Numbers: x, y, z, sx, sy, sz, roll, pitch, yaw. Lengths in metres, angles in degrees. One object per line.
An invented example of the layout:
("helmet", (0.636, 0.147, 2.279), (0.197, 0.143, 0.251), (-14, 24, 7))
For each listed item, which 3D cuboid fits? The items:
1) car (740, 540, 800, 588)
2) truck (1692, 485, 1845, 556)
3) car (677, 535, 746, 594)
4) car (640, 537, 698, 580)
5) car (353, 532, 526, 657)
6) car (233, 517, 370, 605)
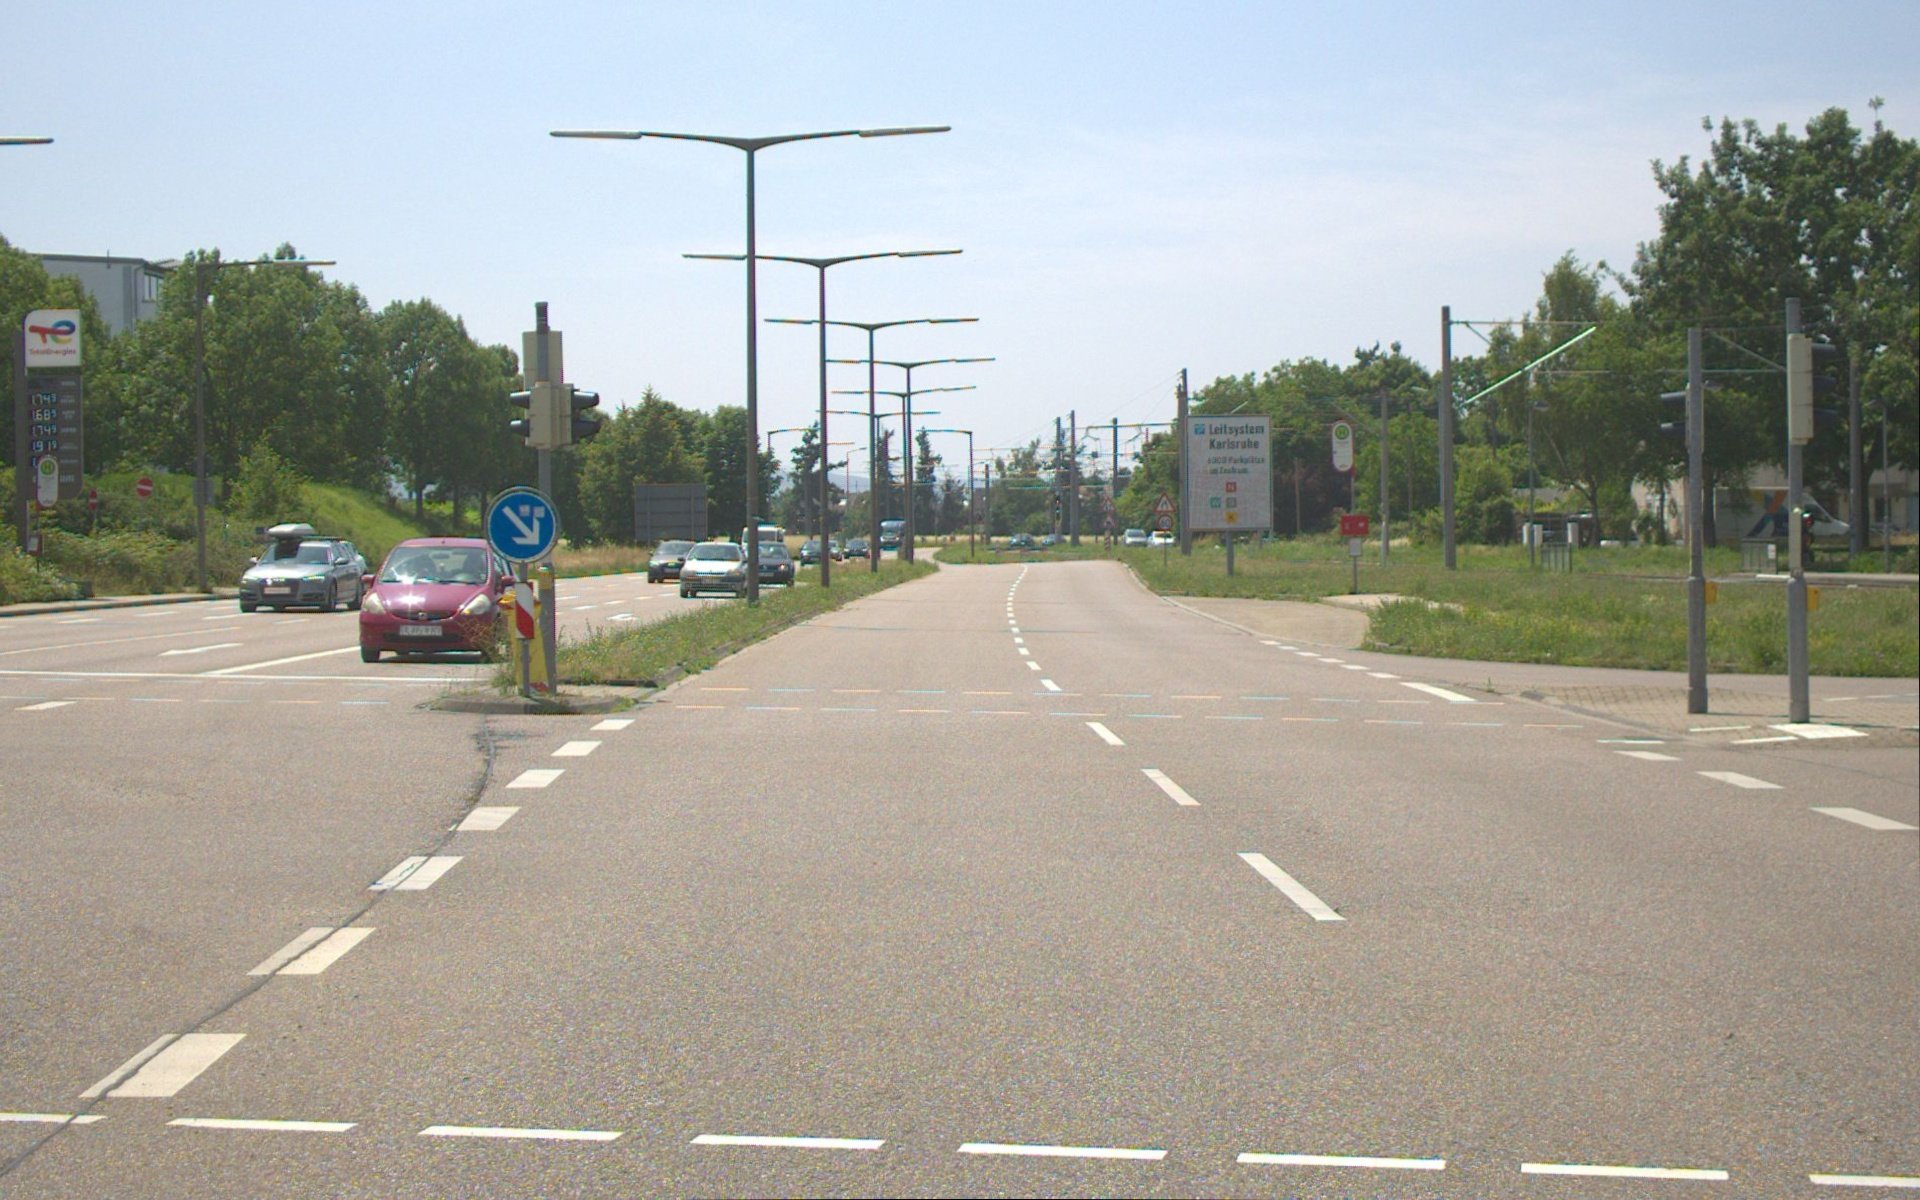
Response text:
("car", (-5.859, -1.114, 106.183), (1.675, 1.429, 4.191), (0, 1, -1))
("truck", (34.704, -3.415, 147.667), (5.839, 2.833, 2.321), (-2, 1, -7))
("car", (-6.345, -0.919, 88.050), (1.560, 1.418, 3.854), (0, 2, -1))
("car", (-9.918, -1.432, 117.394), (1.637, 1.424, 4.052), (0, 1, 0))
("car", (-6.495, -0.104, 43.254), (1.658, 1.485, 4.000), (0, 1, -1))
("car", (-13.549, -0.838, 70.980), (1.964, 1.744, 5.023), (0, 1, -1))
